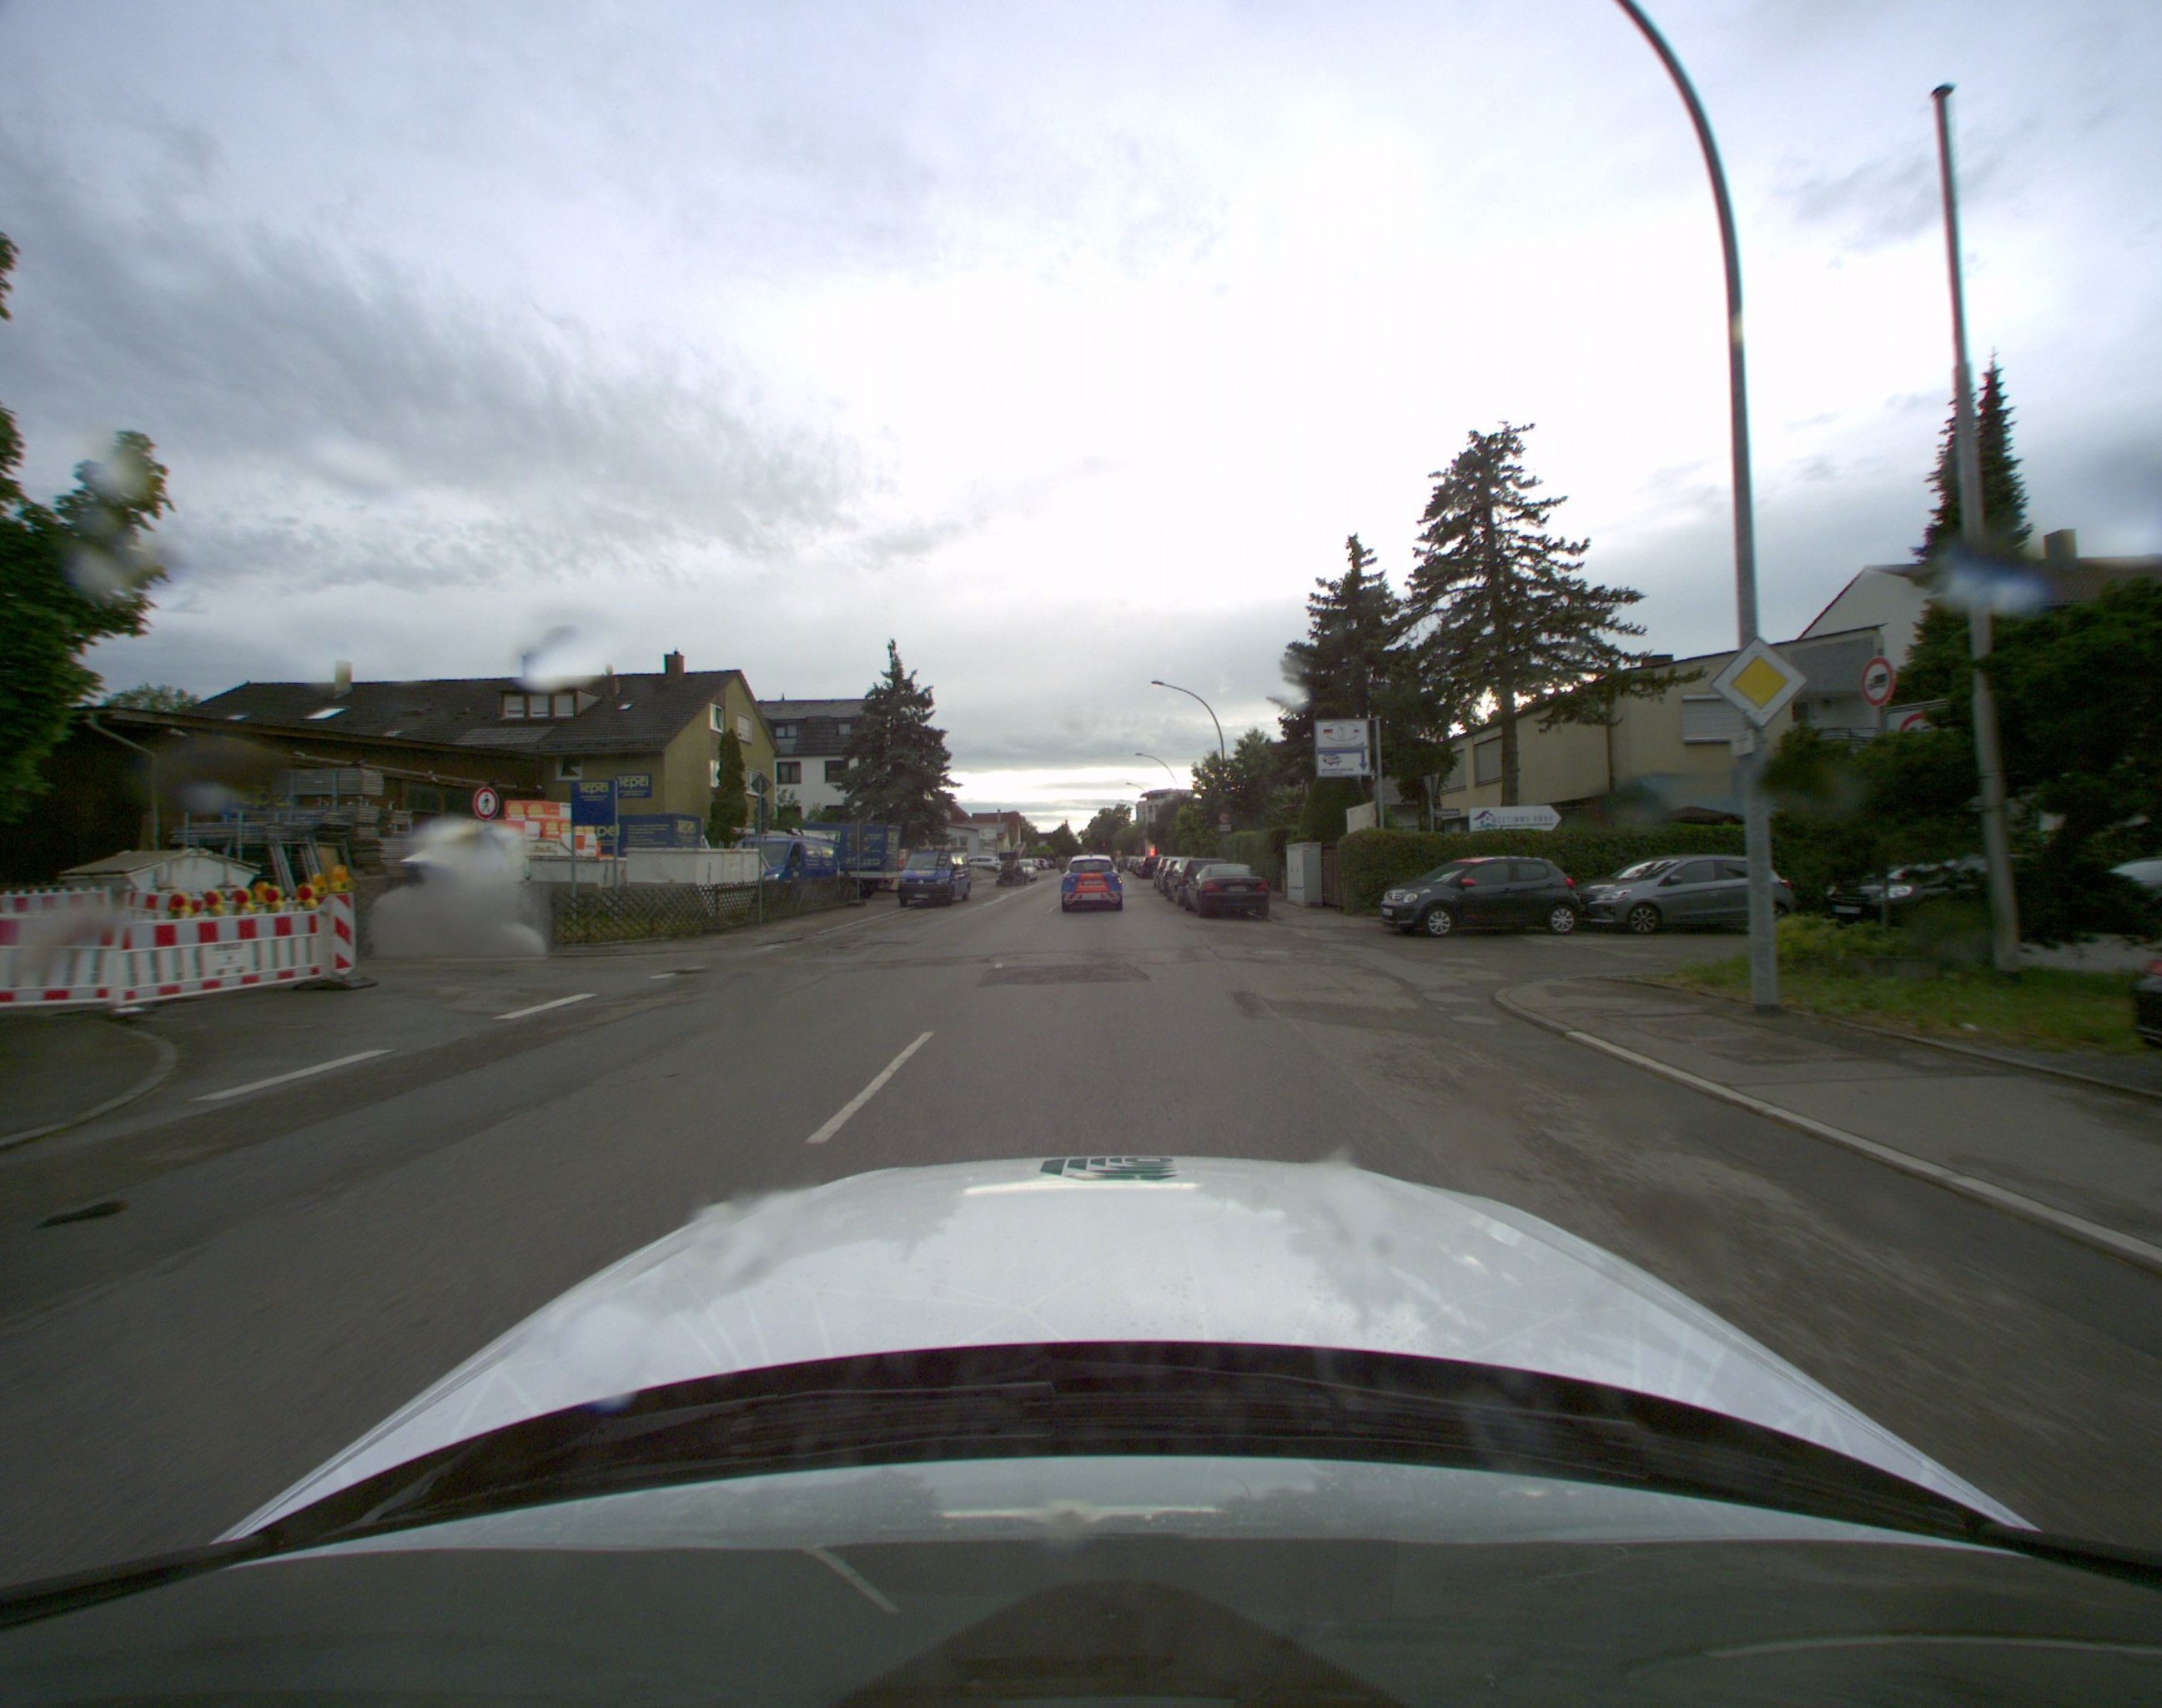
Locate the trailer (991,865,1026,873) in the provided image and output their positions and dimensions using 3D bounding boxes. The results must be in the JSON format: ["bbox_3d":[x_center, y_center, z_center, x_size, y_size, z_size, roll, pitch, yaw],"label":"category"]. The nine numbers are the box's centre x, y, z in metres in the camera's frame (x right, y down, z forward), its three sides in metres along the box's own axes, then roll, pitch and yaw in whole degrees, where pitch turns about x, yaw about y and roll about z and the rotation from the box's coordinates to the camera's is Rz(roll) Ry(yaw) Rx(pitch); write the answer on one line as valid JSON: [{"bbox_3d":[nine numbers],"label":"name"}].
[{"bbox_3d":[-8.583,1.754,96.223,4.009,0.995,1.655,0,-1,0],"label":"trailer"}]

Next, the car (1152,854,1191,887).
[{"bbox_3d":[4.104,0.724,37.396,1.481,1.439,3.808,0,0,2],"label":"car"}]

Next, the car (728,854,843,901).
[{"bbox_3d":[-11.247,0.873,31.113,3.694,1.750,1.779,0,-1,3],"label":"car"}]

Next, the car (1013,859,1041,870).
[{"bbox_3d":[-7.242,1.406,109.260,3.750,1.576,1.653,0,-1,-3],"label":"car"}]

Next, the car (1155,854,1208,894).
[{"bbox_3d":[3.839,0.731,31.498,1.651,1.449,3.830,0,0,1],"label":"car"}]

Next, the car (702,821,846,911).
[{"bbox_3d":[-9.700,0.379,26.457,2.067,2.567,6.205,0,-1,2],"label":"car"}]

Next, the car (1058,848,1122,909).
[{"bbox_3d":[0.276,0.693,23.932,1.725,1.631,3.495,-1,-1,1],"label":"car"}]

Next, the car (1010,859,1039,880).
[{"bbox_3d":[-3.828,1.050,55.853,1.551,1.433,4.001,0,-1,2],"label":"car"}]

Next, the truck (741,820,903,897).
[{"bbox_3d":[-10.639,0.194,33.865,5.888,3.073,2.451,0,-1,2],"label":"truck"}]

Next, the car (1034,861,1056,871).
[{"bbox_3d":[-5.558,1.815,125.503,3.273,1.448,1.478,-2,0,-3],"label":"car"}]

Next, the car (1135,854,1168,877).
[{"bbox_3d":[4.565,0.719,53.142,1.706,1.438,4.525,0,-1,0],"label":"car"}]

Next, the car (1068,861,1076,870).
[{"bbox_3d":[-1.470,1.858,134.444,1.382,1.483,3.783,-1,0,0],"label":"car"}]

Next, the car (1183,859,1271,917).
[{"bbox_3d":[3.717,0.813,21.322,1.584,1.341,4.092,1,0,0],"label":"car"}]

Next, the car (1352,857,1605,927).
[{"bbox_3d":[7.550,0.706,15.771,3.974,1.266,1.950,0,-1,0],"label":"car"}]

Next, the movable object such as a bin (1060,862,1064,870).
[{"bbox_3d":[-2.845,1.752,119.495,0.577,1.204,0.319,0,-1,1],"label":"movable object such as a bin"}]

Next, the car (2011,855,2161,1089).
[{"bbox_3d":[7.820,0.633,4.082,3.970,1.266,1.952,0,-1,3],"label":"car"}]

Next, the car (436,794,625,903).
[{"bbox_3d":[-16.719,-0.113,25.183,2.067,3.013,5.246,0,-1,2],"label":"car"}]

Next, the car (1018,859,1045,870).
[{"bbox_3d":[-6.866,1.426,113.618,3.750,1.483,1.653,0,-1,-3],"label":"car"}]

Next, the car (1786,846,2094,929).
[{"bbox_3d":[16.473,0.622,15.791,3.931,1.508,1.943,0,-1,0],"label":"car"}]

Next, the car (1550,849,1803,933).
[{"bbox_3d":[11.482,0.682,15.893,3.602,1.538,1.859,0,-1,0],"label":"car"}]

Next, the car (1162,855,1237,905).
[{"bbox_3d":[3.664,0.780,25.947,1.651,1.419,4.775,0,-1,0],"label":"car"}]

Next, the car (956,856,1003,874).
[{"bbox_3d":[-8.622,0.943,69.380,3.747,1.568,1.655,0,-1,0],"label":"car"}]

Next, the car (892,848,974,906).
[{"bbox_3d":[-5.433,0.786,30.642,1.986,1.947,5.366,-1,0,1],"label":"car"}]

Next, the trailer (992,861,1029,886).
[{"bbox_3d":[-4.143,1.103,48.425,1.712,1.260,5.244,0,1,0],"label":"trailer"}]

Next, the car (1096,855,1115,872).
[{"bbox_3d":[2.179,0.869,73.363,1.644,1.522,3.999,0,-1,0],"label":"car"}]

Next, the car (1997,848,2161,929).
[{"bbox_3d":[20.801,0.639,15.809,3.822,1.475,2.000,0,-1,0],"label":"car"}]

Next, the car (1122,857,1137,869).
[{"bbox_3d":[6.042,1.127,101.761,1.644,1.522,3.999,0,-1,0],"label":"car"}]

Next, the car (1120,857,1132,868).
[{"bbox_3d":[6.797,1.312,123.530,1.644,1.672,3.999,0,-1,0],"label":"car"}]
